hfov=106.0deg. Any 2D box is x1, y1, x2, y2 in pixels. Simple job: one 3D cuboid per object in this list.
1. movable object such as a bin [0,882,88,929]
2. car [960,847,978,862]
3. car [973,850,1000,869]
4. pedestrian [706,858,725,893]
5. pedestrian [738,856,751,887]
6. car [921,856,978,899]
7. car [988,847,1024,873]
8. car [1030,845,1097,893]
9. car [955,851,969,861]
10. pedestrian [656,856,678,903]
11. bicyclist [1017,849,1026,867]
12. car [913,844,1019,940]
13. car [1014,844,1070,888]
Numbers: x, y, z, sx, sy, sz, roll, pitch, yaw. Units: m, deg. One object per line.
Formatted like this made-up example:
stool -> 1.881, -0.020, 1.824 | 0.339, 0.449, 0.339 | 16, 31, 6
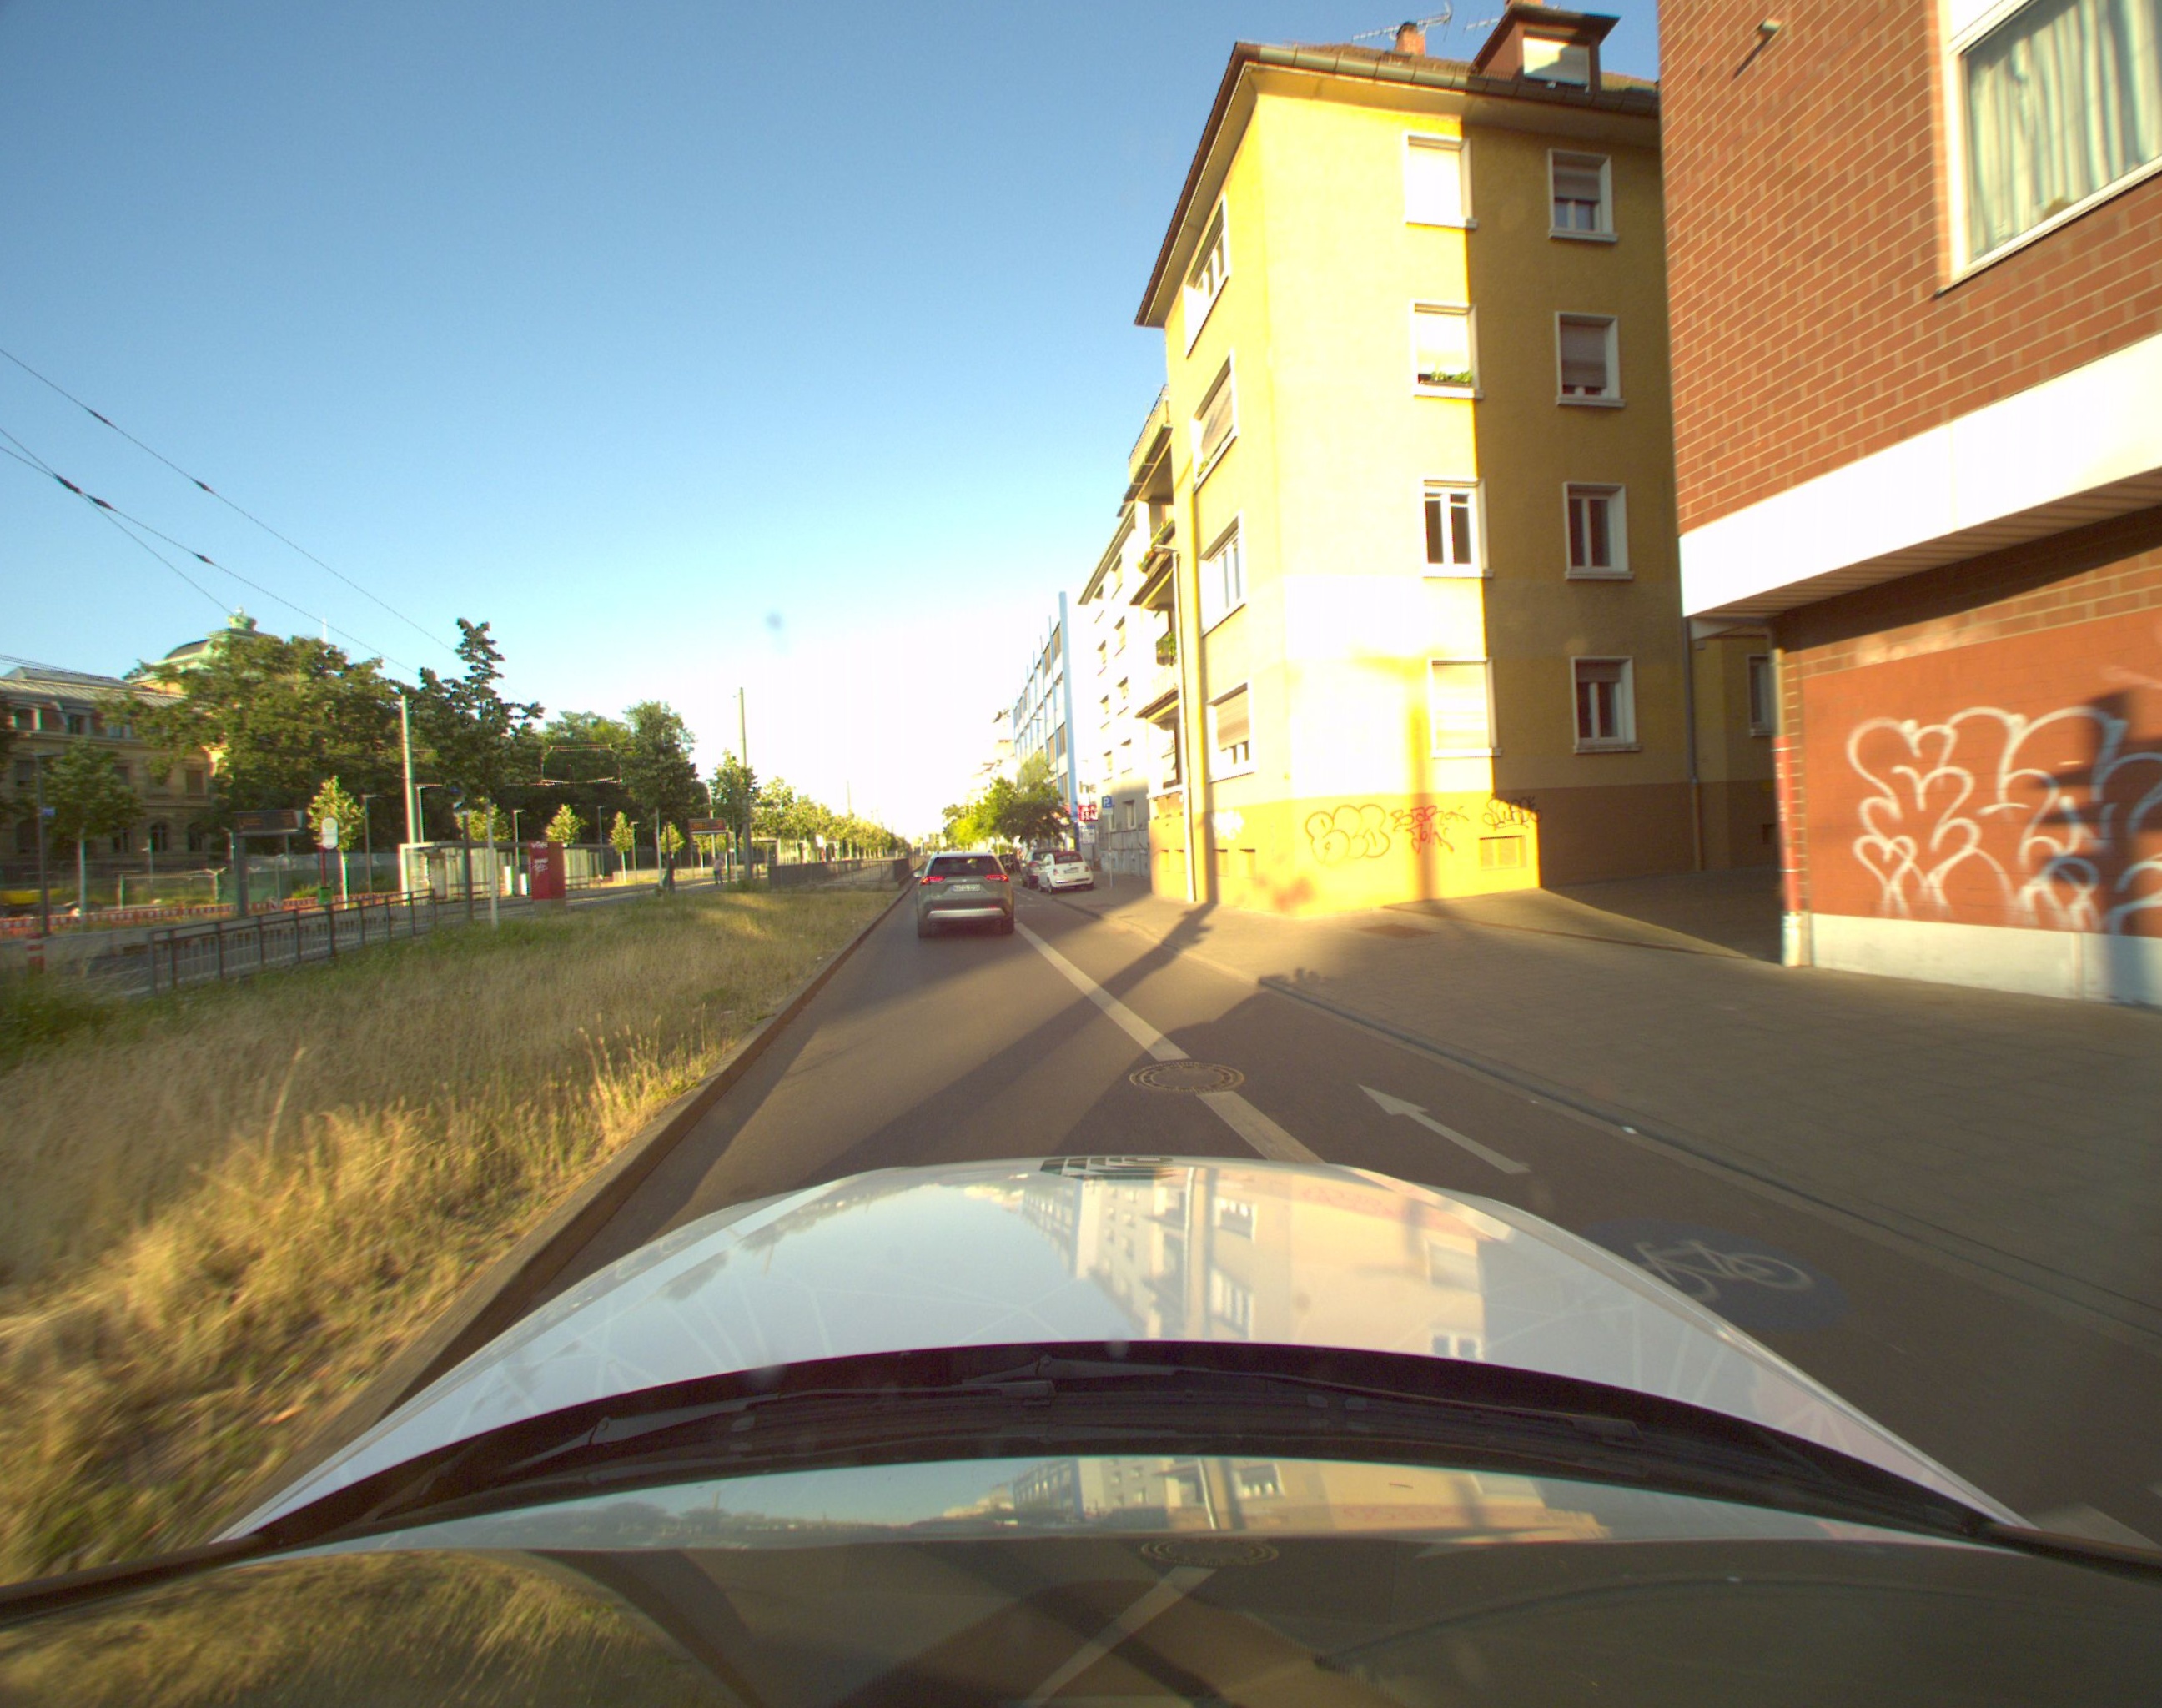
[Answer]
movable object such as a bin -> -56.117, 2.721, 42.853 | 1.993, 2.246, 4.925 | -3, 0, -8
car -> -14.679, 0.077, 106.601 | 1.856, 1.706, 4.236 | -5, 1, -12
car -> -7.931, 0.468, 68.099 | 1.685, 1.454, 4.112 | -4, 0, -12
pedestrian -> -18.969, 1.107, 42.242 | 0.727, 1.744, 0.632 | -3, 1, -19
pedestrian -> -19.226, 0.984, 46.530 | 0.637, 1.728, 0.631 | -3, 0, -23
car -> -5.006, 0.843, 30.604 | 1.860, 1.462, 4.174 | -1, 0, -13
car -> -5.374, 0.401, 57.559 | 1.821, 1.566, 4.789 | -6, 1, -12
car -> -0.729, 0.547, 30.778 | 1.672, 1.517, 3.585 | -6, 1, -13
car -> -19.832, 0.342, 135.323 | 1.795, 1.471, 4.424 | -6, 1, -13
pedestrian -> -15.933, 0.965, 31.345 | 0.470, 1.787, 0.625 | -3, 0, -3
bicyclist -> -5.228, 0.370, 71.285 | 0.558, 1.475, 0.620 | -6, 0, -13
car -> -2.509, 0.695, 16.898 | 1.859, 1.714, 4.174 | -1, 0, -12
car -> -1.789, 0.497, 35.769 | 1.757, 1.654, 4.512 | -5, 1, -10
